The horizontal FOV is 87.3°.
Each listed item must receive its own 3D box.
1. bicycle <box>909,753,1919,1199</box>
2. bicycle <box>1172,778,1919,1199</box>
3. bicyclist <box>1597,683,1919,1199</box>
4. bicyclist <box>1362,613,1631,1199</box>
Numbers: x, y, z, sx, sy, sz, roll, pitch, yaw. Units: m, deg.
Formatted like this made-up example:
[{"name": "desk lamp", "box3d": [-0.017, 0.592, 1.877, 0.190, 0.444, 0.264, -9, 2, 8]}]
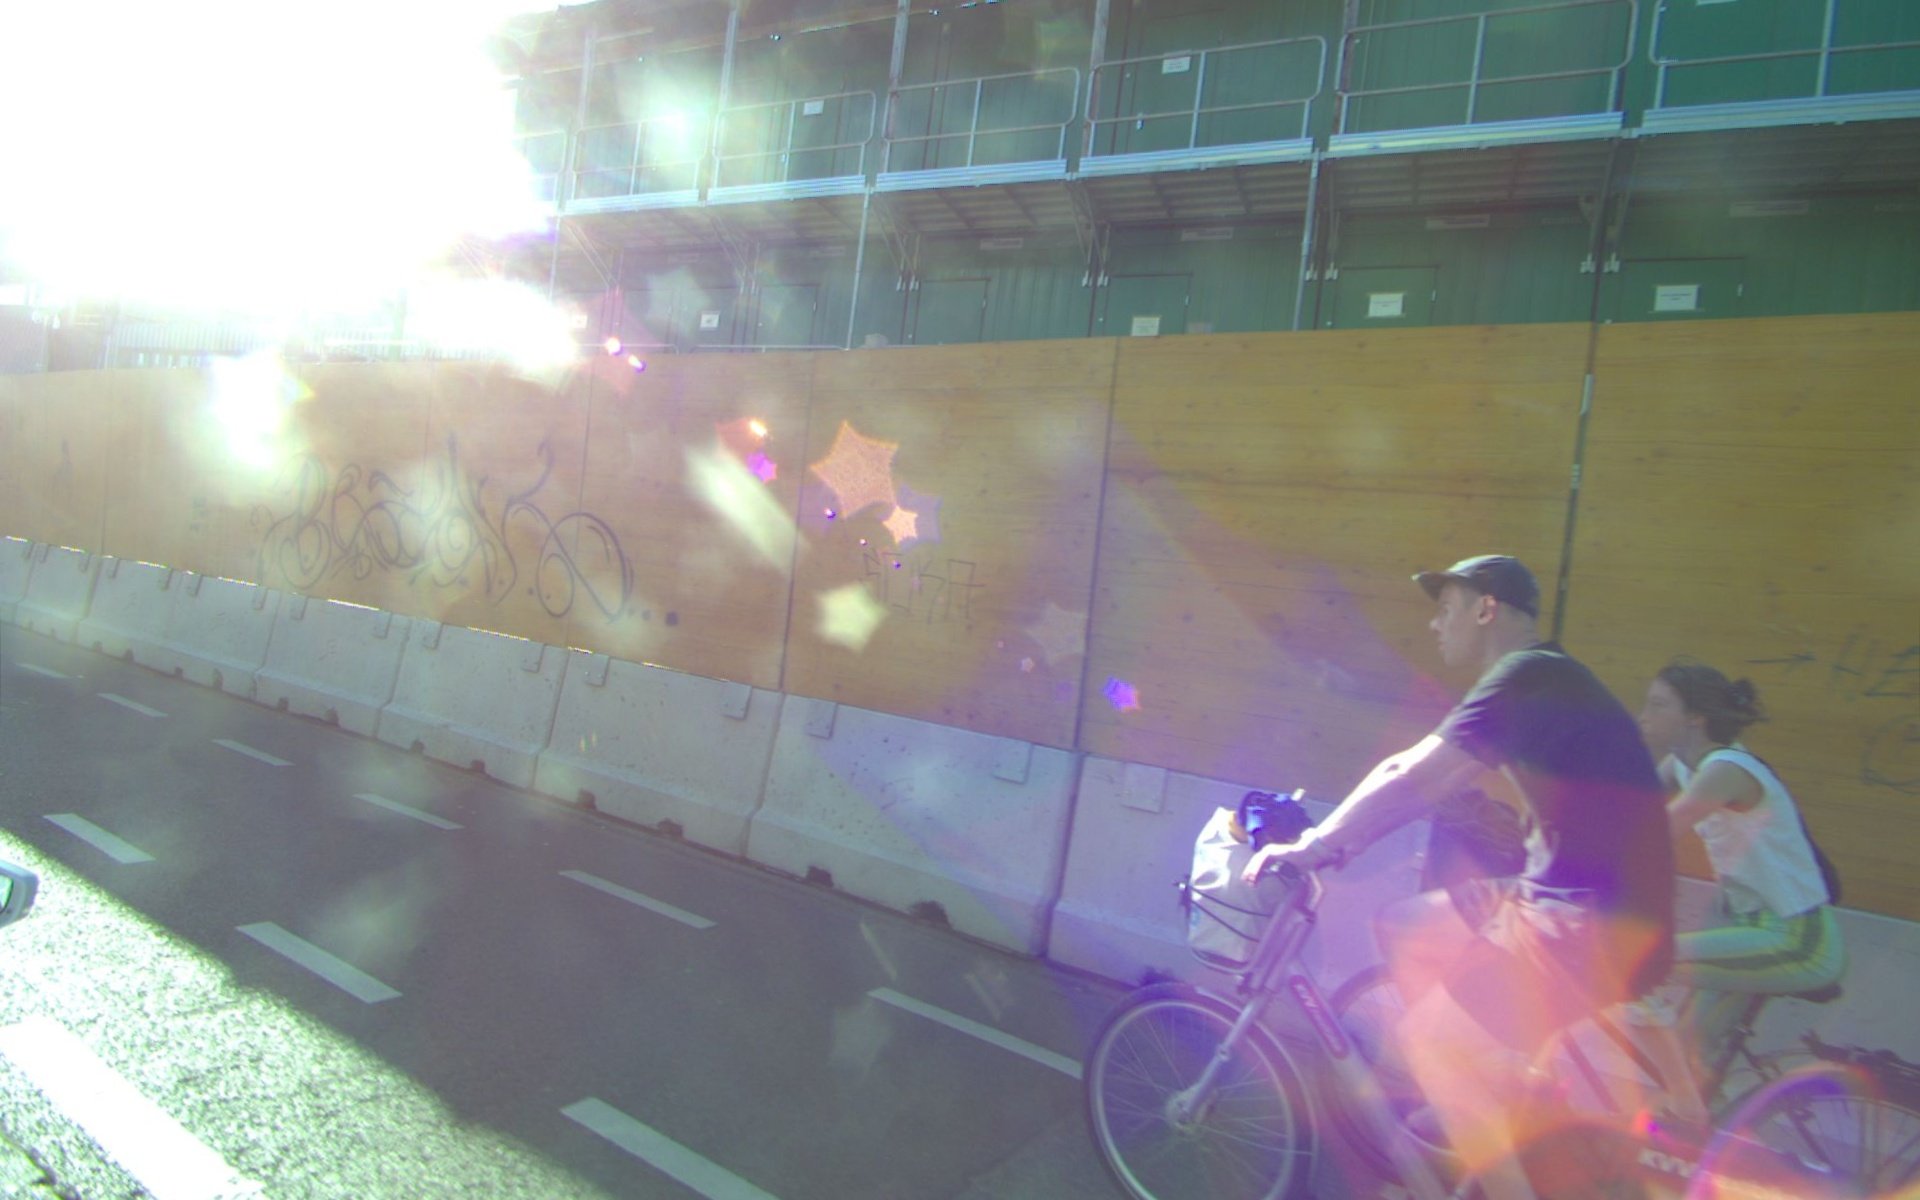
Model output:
[{"name": "bicycle", "box3d": [1.054, 1.157, 2.444, 2.238, 1.167, 0.669, 7, -2, 32]}, {"name": "bicycle", "box3d": [1.843, 1.313, 2.896, 2.237, 1.140, 0.558, 7, 0, 29]}, {"name": "bicyclist", "box3d": [2.183, 1.077, 2.730, 0.566, 1.633, 0.557, 7, 0, 29]}, {"name": "bicyclist", "box3d": [1.235, 0.692, 2.334, 0.347, 1.253, 0.653, 7, 0, 29]}]
